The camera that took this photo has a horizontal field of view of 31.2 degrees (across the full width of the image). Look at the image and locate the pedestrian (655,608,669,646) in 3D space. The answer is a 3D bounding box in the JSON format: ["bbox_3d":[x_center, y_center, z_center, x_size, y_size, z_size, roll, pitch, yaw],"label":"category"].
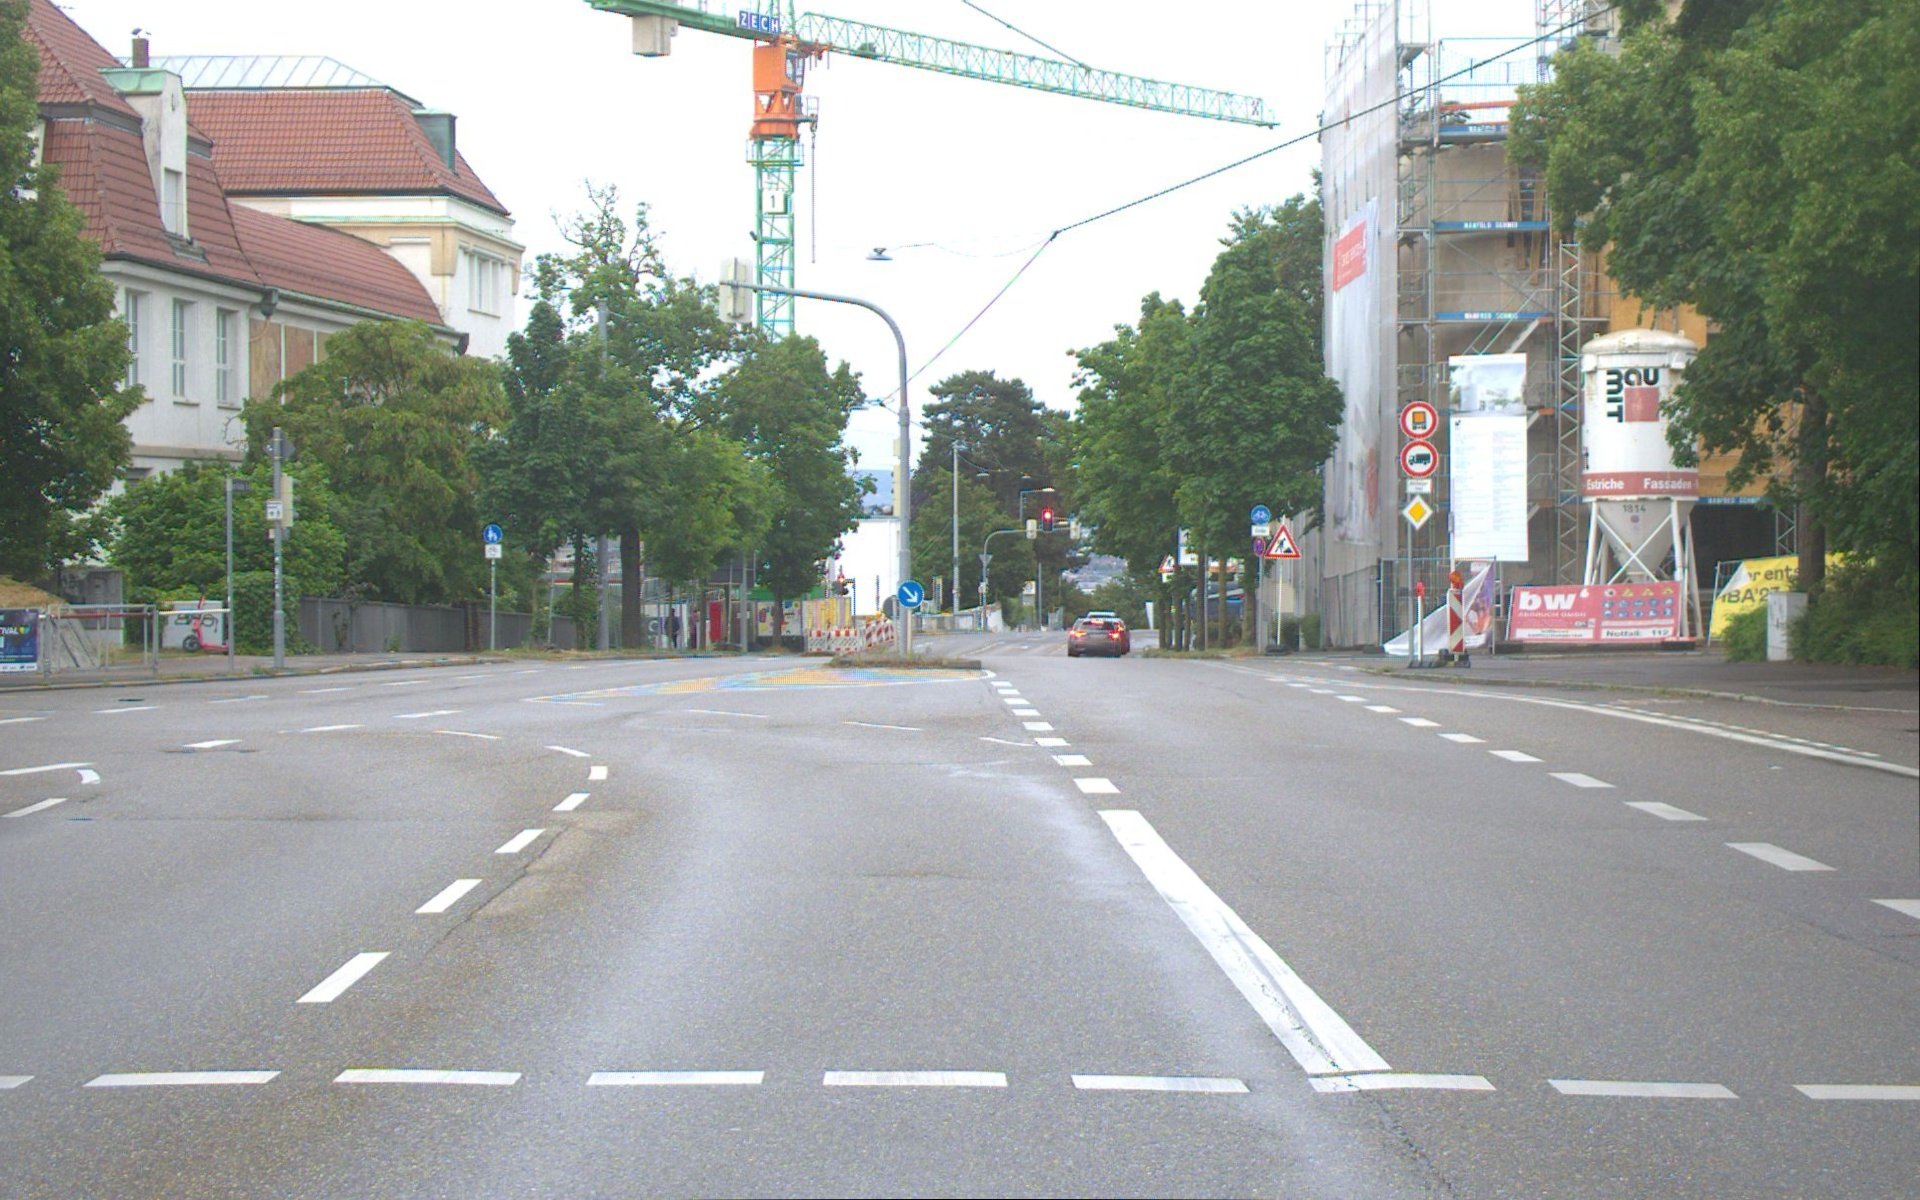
[{"bbox_3d":[-10.977,0.982,126.581,0.474,1.391,0.411,-1,1,-1],"label":"pedestrian"}]

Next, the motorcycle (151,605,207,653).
[{"bbox_3d":[-14.736,0.540,64.906,0.849,0.874,0.877,1,0,-1],"label":"motorcycle"}]

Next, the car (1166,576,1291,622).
[{"bbox_3d":[14.634,-0.043,187.309,6.167,2.394,2.858,0,1,-30],"label":"car"}]

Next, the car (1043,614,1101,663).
[{"bbox_3d":[4.245,1.451,130.745,1.993,1.744,4.000,-1,1,-1],"label":"car"}]

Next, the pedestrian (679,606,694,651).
[{"bbox_3d":[-10.065,1.064,126.644,0.493,1.640,0.533,1,0,-1],"label":"pedestrian"}]

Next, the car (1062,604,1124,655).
[{"bbox_3d":[4.826,1.056,124.934,1.993,1.744,4.000,-1,1,-1],"label":"car"}]
